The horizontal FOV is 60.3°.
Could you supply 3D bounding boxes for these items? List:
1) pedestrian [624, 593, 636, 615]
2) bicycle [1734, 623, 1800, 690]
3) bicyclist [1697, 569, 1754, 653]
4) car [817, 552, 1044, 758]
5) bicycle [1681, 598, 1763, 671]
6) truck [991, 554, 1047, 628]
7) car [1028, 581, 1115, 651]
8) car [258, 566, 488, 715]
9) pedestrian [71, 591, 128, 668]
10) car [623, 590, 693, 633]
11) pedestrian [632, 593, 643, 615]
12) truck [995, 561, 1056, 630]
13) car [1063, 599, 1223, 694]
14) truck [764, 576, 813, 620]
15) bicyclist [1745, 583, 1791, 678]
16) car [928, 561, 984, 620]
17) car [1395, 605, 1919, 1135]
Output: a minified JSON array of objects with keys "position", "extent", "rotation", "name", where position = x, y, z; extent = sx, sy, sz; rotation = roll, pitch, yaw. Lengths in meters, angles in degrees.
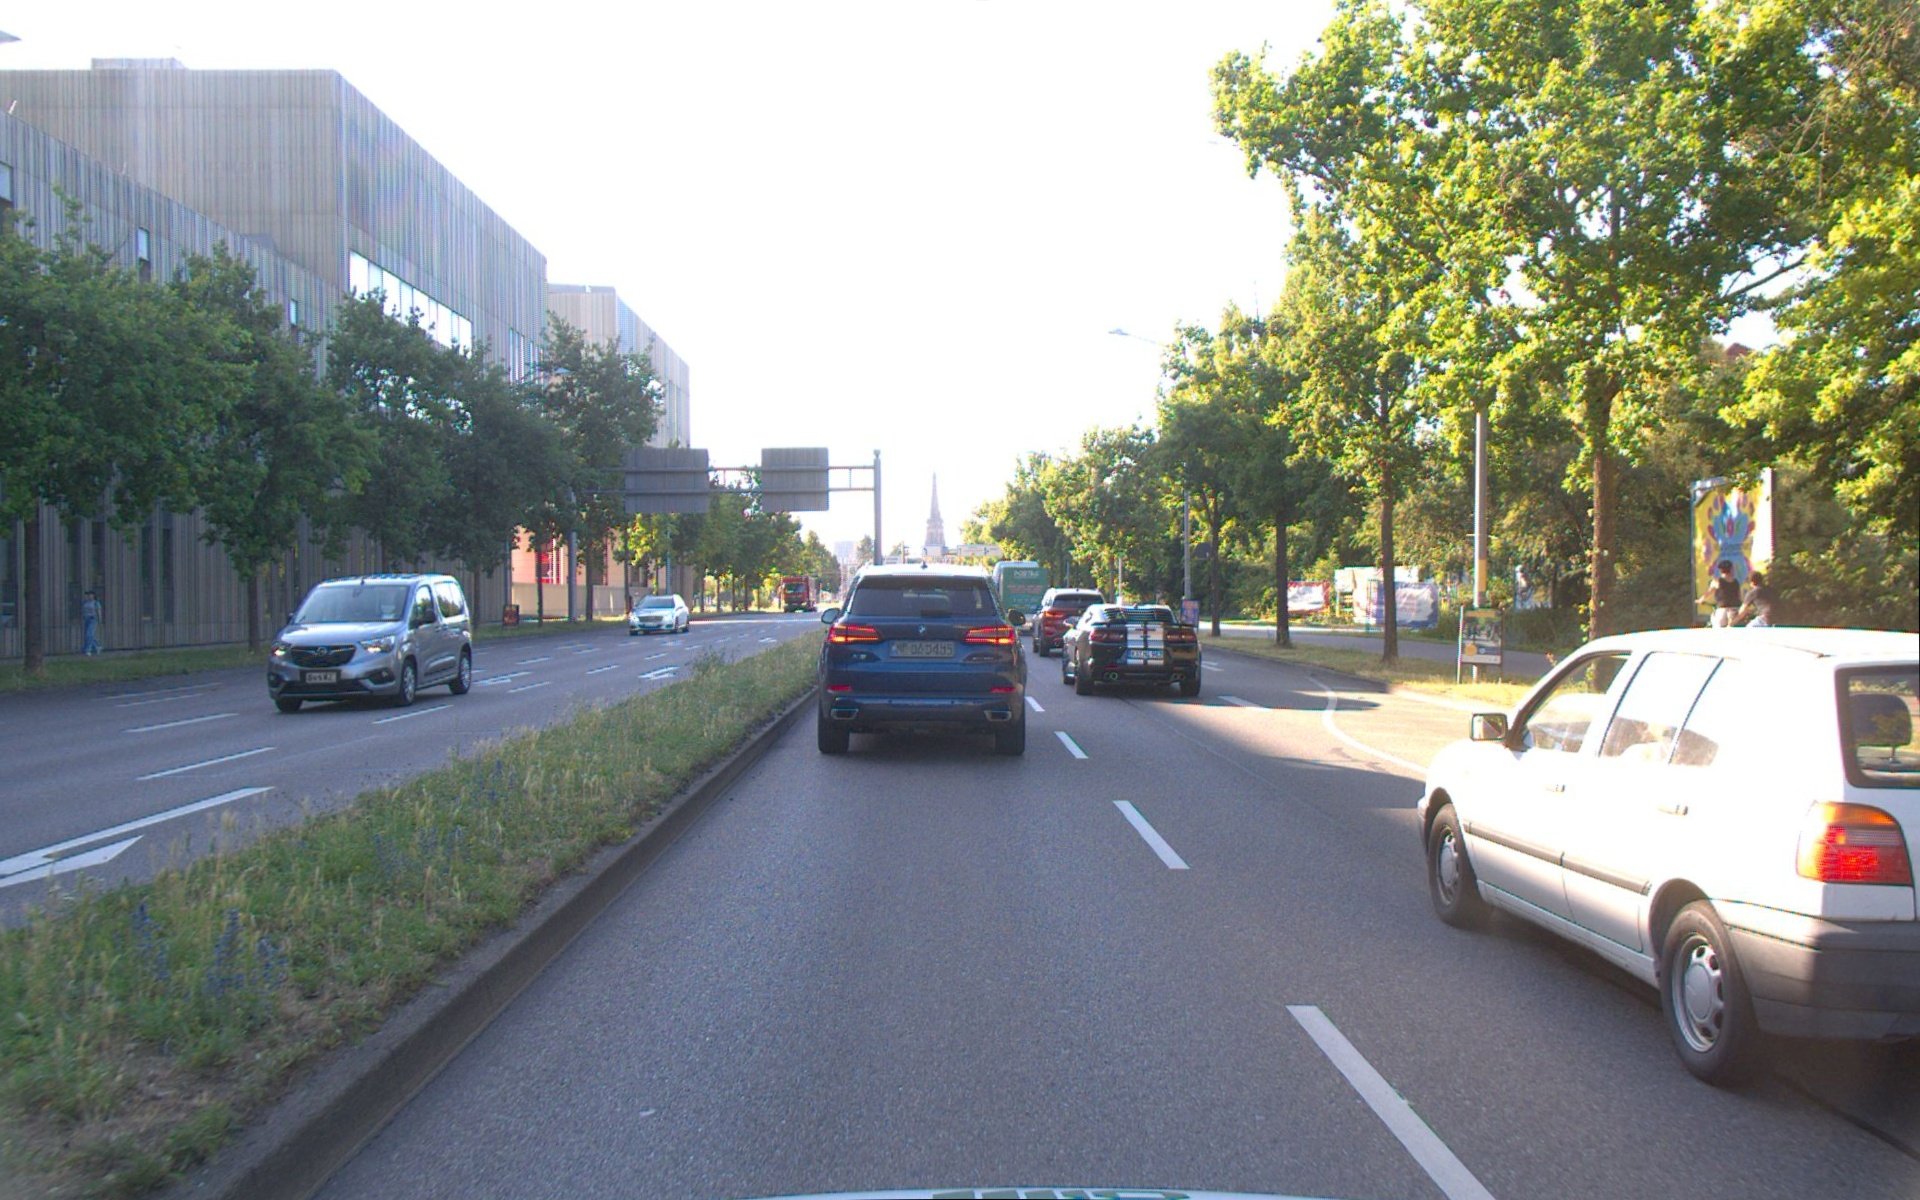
[{"position":[-23.701,0.310,118.800],"extent":[0.614,1.548,0.718],"rotation":[1,-1,2],"name":"pedestrian"},{"position":[11.516,0.796,23.619],"extent":[0.428,0.930,1.026],"rotation":[1,-1,-1],"name":"bicycle"},{"position":[12.343,0.182,26.683],"extent":[0.532,1.339,0.835],"rotation":[1,-1,-1],"name":"bicyclist"},{"position":[-0.288,0.511,16.684],"extent":[1.953,1.764,4.531],"rotation":[1,-1,-1],"name":"car"},{"position":[12.323,0.550,26.779],"extent":[0.553,1.132,1.621],"rotation":[1,-1,-1],"name":"bicycle"},{"position":[2.246,-0.303,63.840],"extent":[1.955,2.715,3.999],"rotation":[1,-1,-1],"name":"truck"},{"position":[2.661,0.405,40.215],"extent":[1.760,1.586,3.999],"rotation":[1,-1,-1],"name":"car"},{"position":[-8.276,0.552,23.764],"extent":[1.721,1.808,4.492],"rotation":[-4,-1,-2],"name":"car"},{"position":[-23.077,0.790,44.378],"extent":[0.998,2.049,0.961],"rotation":[1,-1,-1],"name":"pedestrian"},{"position":[-11.878,0.475,65.342],"extent":[1.954,1.477,4.712],"rotation":[-4,-1,-2],"name":"car"},{"position":[-23.061,0.311,118.315],"extent":[0.614,1.548,0.718],"rotation":[1,-1,2],"name":"pedestrian"},{"position":[2.297,-0.112,59.150],"extent":[1.955,2.356,3.999],"rotation":[1,-1,-1],"name":"truck"},{"position":[2.734,0.690,25.561],"extent":[1.953,1.317,3.999],"rotation":[1,-1,-1],"name":"car"},{"position":[-17.071,-0.165,165.759],"extent":[3.908,4.160,11.444],"rotation":[1,-1,-1],"name":"truck"},{"position":[11.526,0.437,23.597],"extent":[0.419,1.332,0.460],"rotation":[1,-1,-1],"name":"bicyclist"},{"position":[-0.239,-0.385,76.572],"extent":[2.095,2.621,5.080],"rotation":[1,-1,-6],"name":"car"},{"position":[3.090,0.775,6.566],"extent":[1.547,1.438,4.060],"rotation":[1,-1,-2],"name":"car"}]
